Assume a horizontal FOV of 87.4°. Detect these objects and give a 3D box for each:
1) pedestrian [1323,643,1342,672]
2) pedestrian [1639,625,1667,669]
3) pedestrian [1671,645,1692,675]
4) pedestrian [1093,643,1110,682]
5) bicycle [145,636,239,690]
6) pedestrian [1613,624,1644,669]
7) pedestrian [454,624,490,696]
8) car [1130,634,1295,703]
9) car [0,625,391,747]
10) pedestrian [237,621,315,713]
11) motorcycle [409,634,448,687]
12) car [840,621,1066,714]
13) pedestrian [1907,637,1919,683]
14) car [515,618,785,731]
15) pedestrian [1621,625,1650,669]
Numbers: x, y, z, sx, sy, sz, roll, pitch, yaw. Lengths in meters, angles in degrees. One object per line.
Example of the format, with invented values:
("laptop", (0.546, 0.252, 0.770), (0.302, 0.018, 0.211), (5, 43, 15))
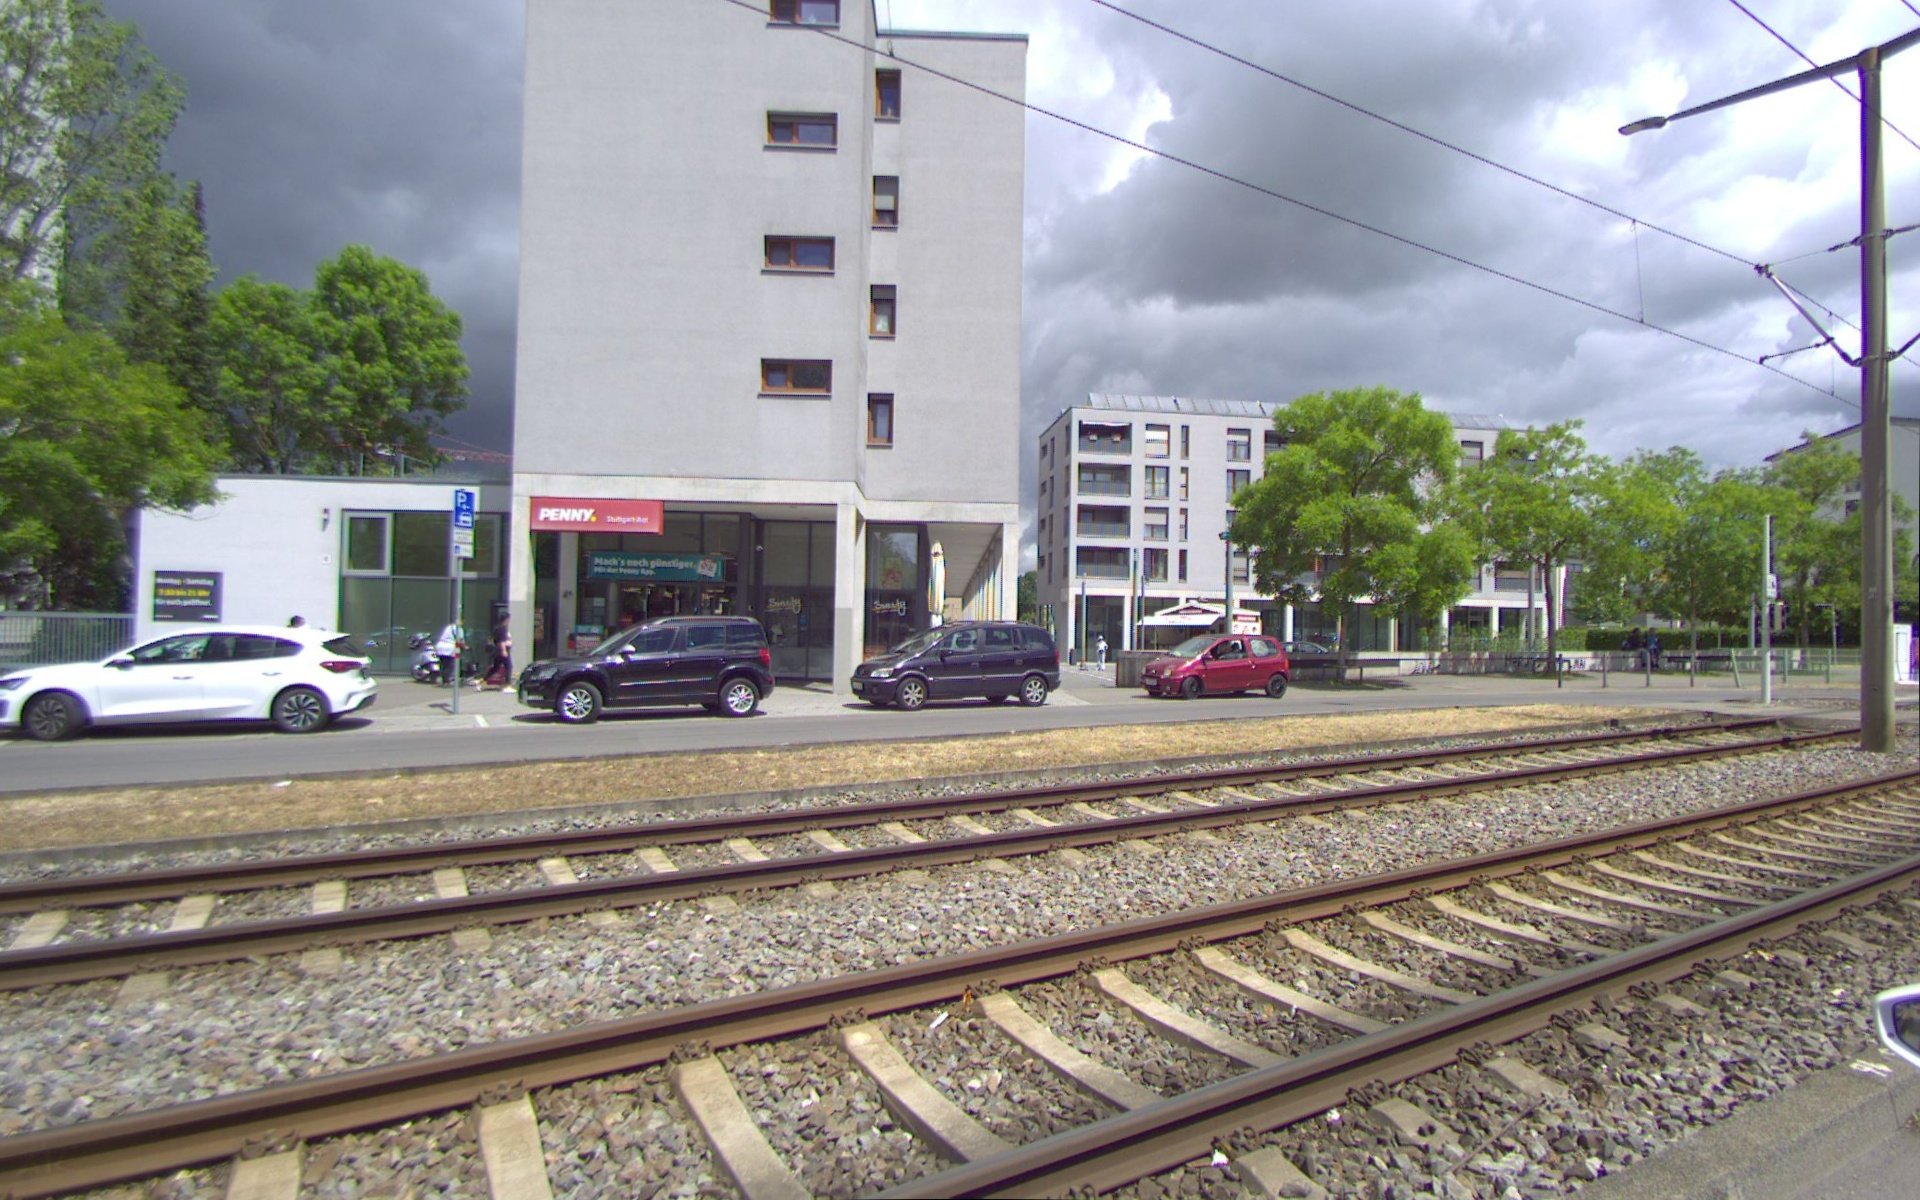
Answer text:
("pedestrian", (14.769, 2.268, 39.808), (0.566, 1.110, 0.500), (0, -1, -4))
("pedestrian", (25.694, 1.729, 37.250), (0.550, 1.594, 0.621), (0, -2, -23))
("pedestrian", (30.965, 2.586, 43.134), (0.449, 1.263, 0.545), (-1, -2, -8))
("pedestrian", (7.223, 3.180, 51.274), (0.768, 1.967, 0.830), (-1, -2, 2))
("bicycle", (-18.370, 1.494, 24.074), (0.656, 1.228, 1.974), (-1, -2, 3))
("pedestrian", (24.342, 1.694, 36.568), (0.687, 1.594, 0.622), (0, -2, -17))
("pedestrian", (-10.243, 1.249, 21.094), (0.492, 1.479, 0.557), (-3, -3, 44))
("car", (5.792, 1.529, 23.074), (3.373, 1.445, 1.610), (0, -2, -23))
("car", (-10.631, 1.139, 14.185), (4.338, 1.494, 1.750), (0, -2, -24))
("pedestrian", (-11.812, 1.145, 17.372), (0.957, 1.554, 0.601), (0, -2, -17))
("motorcycle", (-12.515, 1.407, 23.623), (0.733, 1.193, 1.883), (0, -2, -31))
("car", (-0.138, 1.283, 20.036), (4.046, 1.669, 1.987), (0, -2, -26))
("pedestrian", (35.369, 2.184, 36.735), (0.857, 1.683, 0.747), (0, -2, -25))
("car", (-5.237, 1.158, 17.068), (4.053, 1.685, 1.983), (0, -1, -31))
("pedestrian", (24.857, 1.727, 36.962), (0.549, 1.594, 0.622), (0, -2, -17))
